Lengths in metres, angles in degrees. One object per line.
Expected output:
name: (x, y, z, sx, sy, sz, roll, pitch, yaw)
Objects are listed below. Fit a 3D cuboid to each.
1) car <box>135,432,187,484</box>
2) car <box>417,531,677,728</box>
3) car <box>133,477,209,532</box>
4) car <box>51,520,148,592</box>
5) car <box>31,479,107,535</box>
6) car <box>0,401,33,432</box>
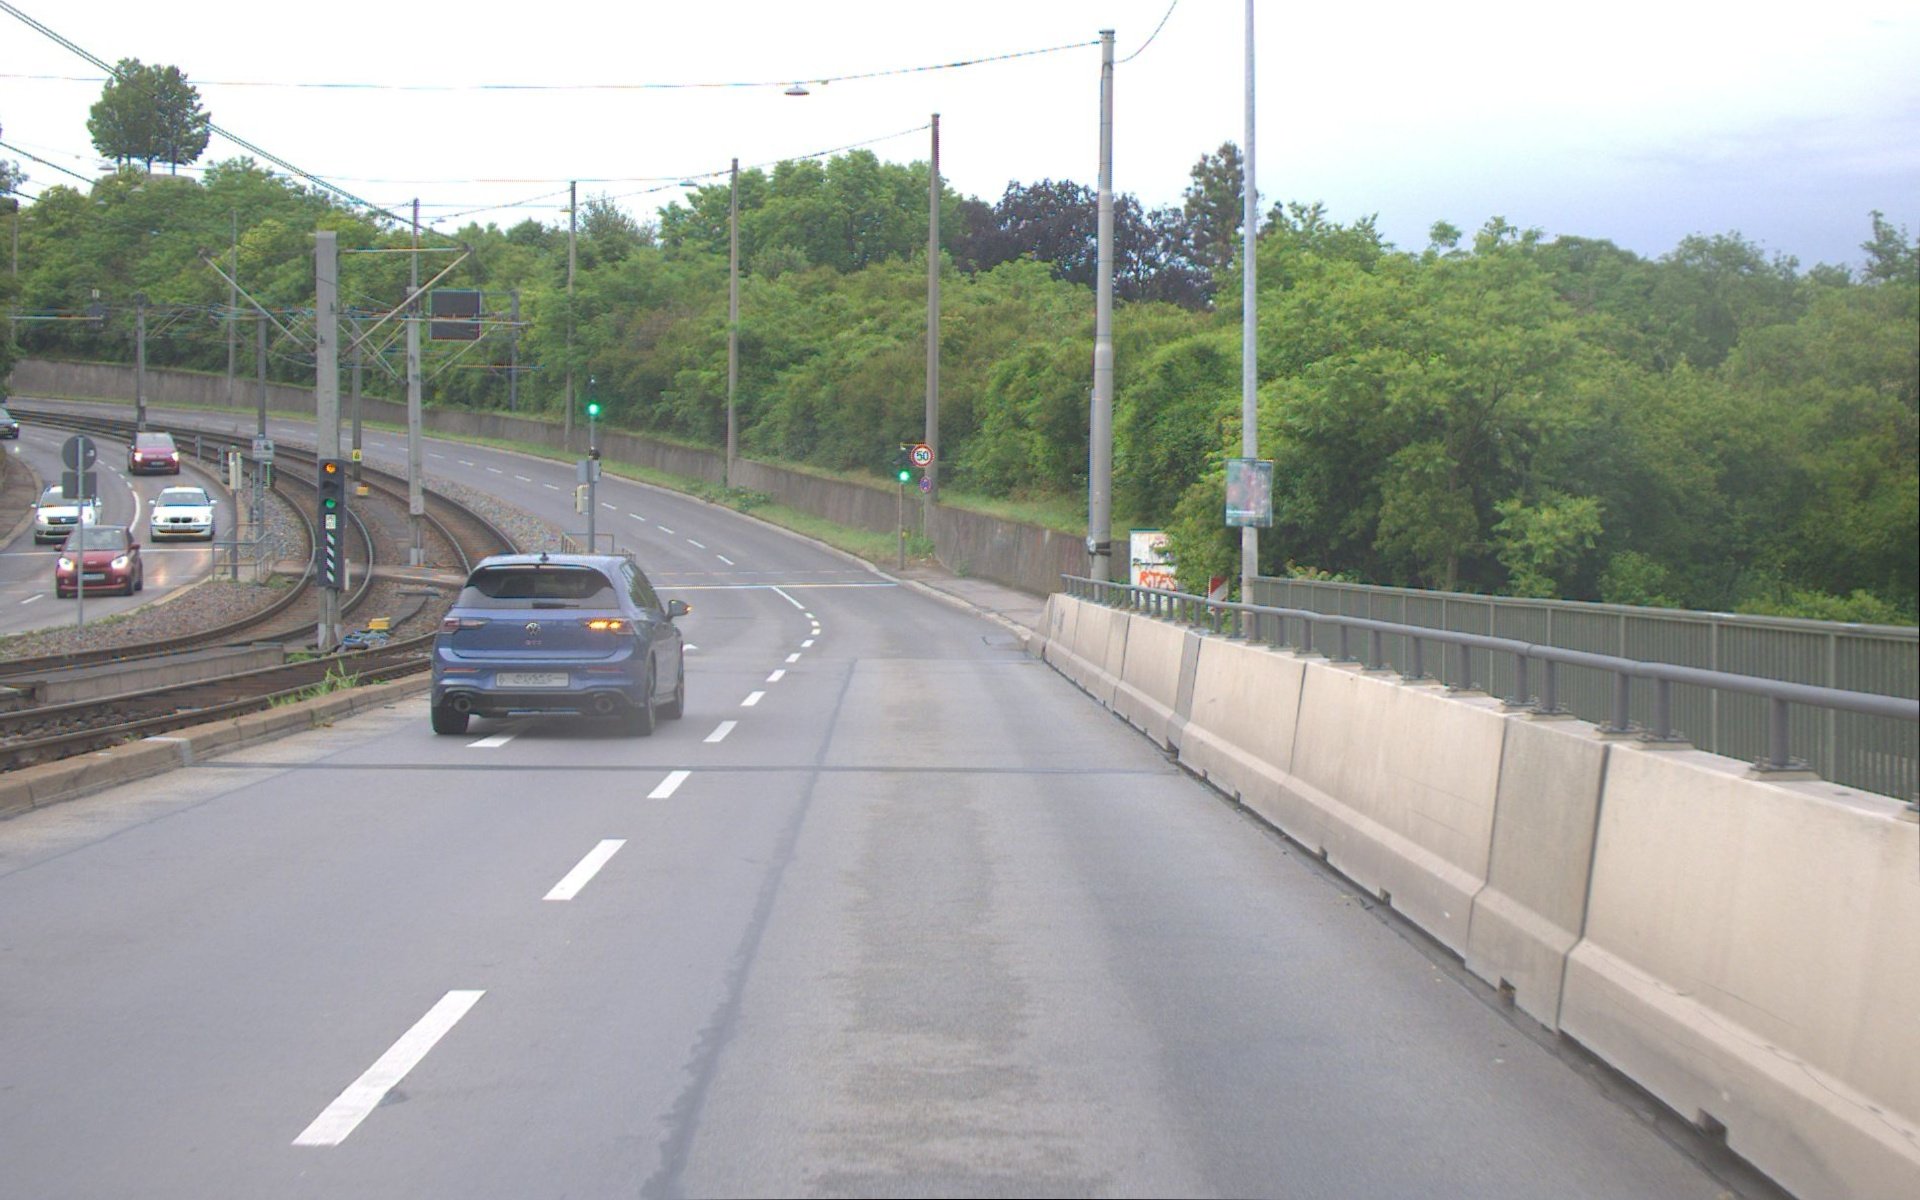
car: (-31.686, -5.639, 136.188, 1.847, 1.591, 4.736, -1, 8, -14)
car: (-3.370, 0.215, 28.681, 1.763, 1.496, 4.000, 1, 0, -2)
car: (-22.608, -2.729, 98.432, 1.729, 1.432, 4.493, -1, 0, -18)
car: (-19.220, -1.001, 76.872, 1.600, 1.488, 3.018, -1, 2, -4)
car: (-25.648, -2.671, 99.047, 1.820, 1.510, 4.530, 0, 0, -11)
car: (-46.581, -8.989, 168.297, 1.715, 1.453, 4.277, -2, 4, -23)
